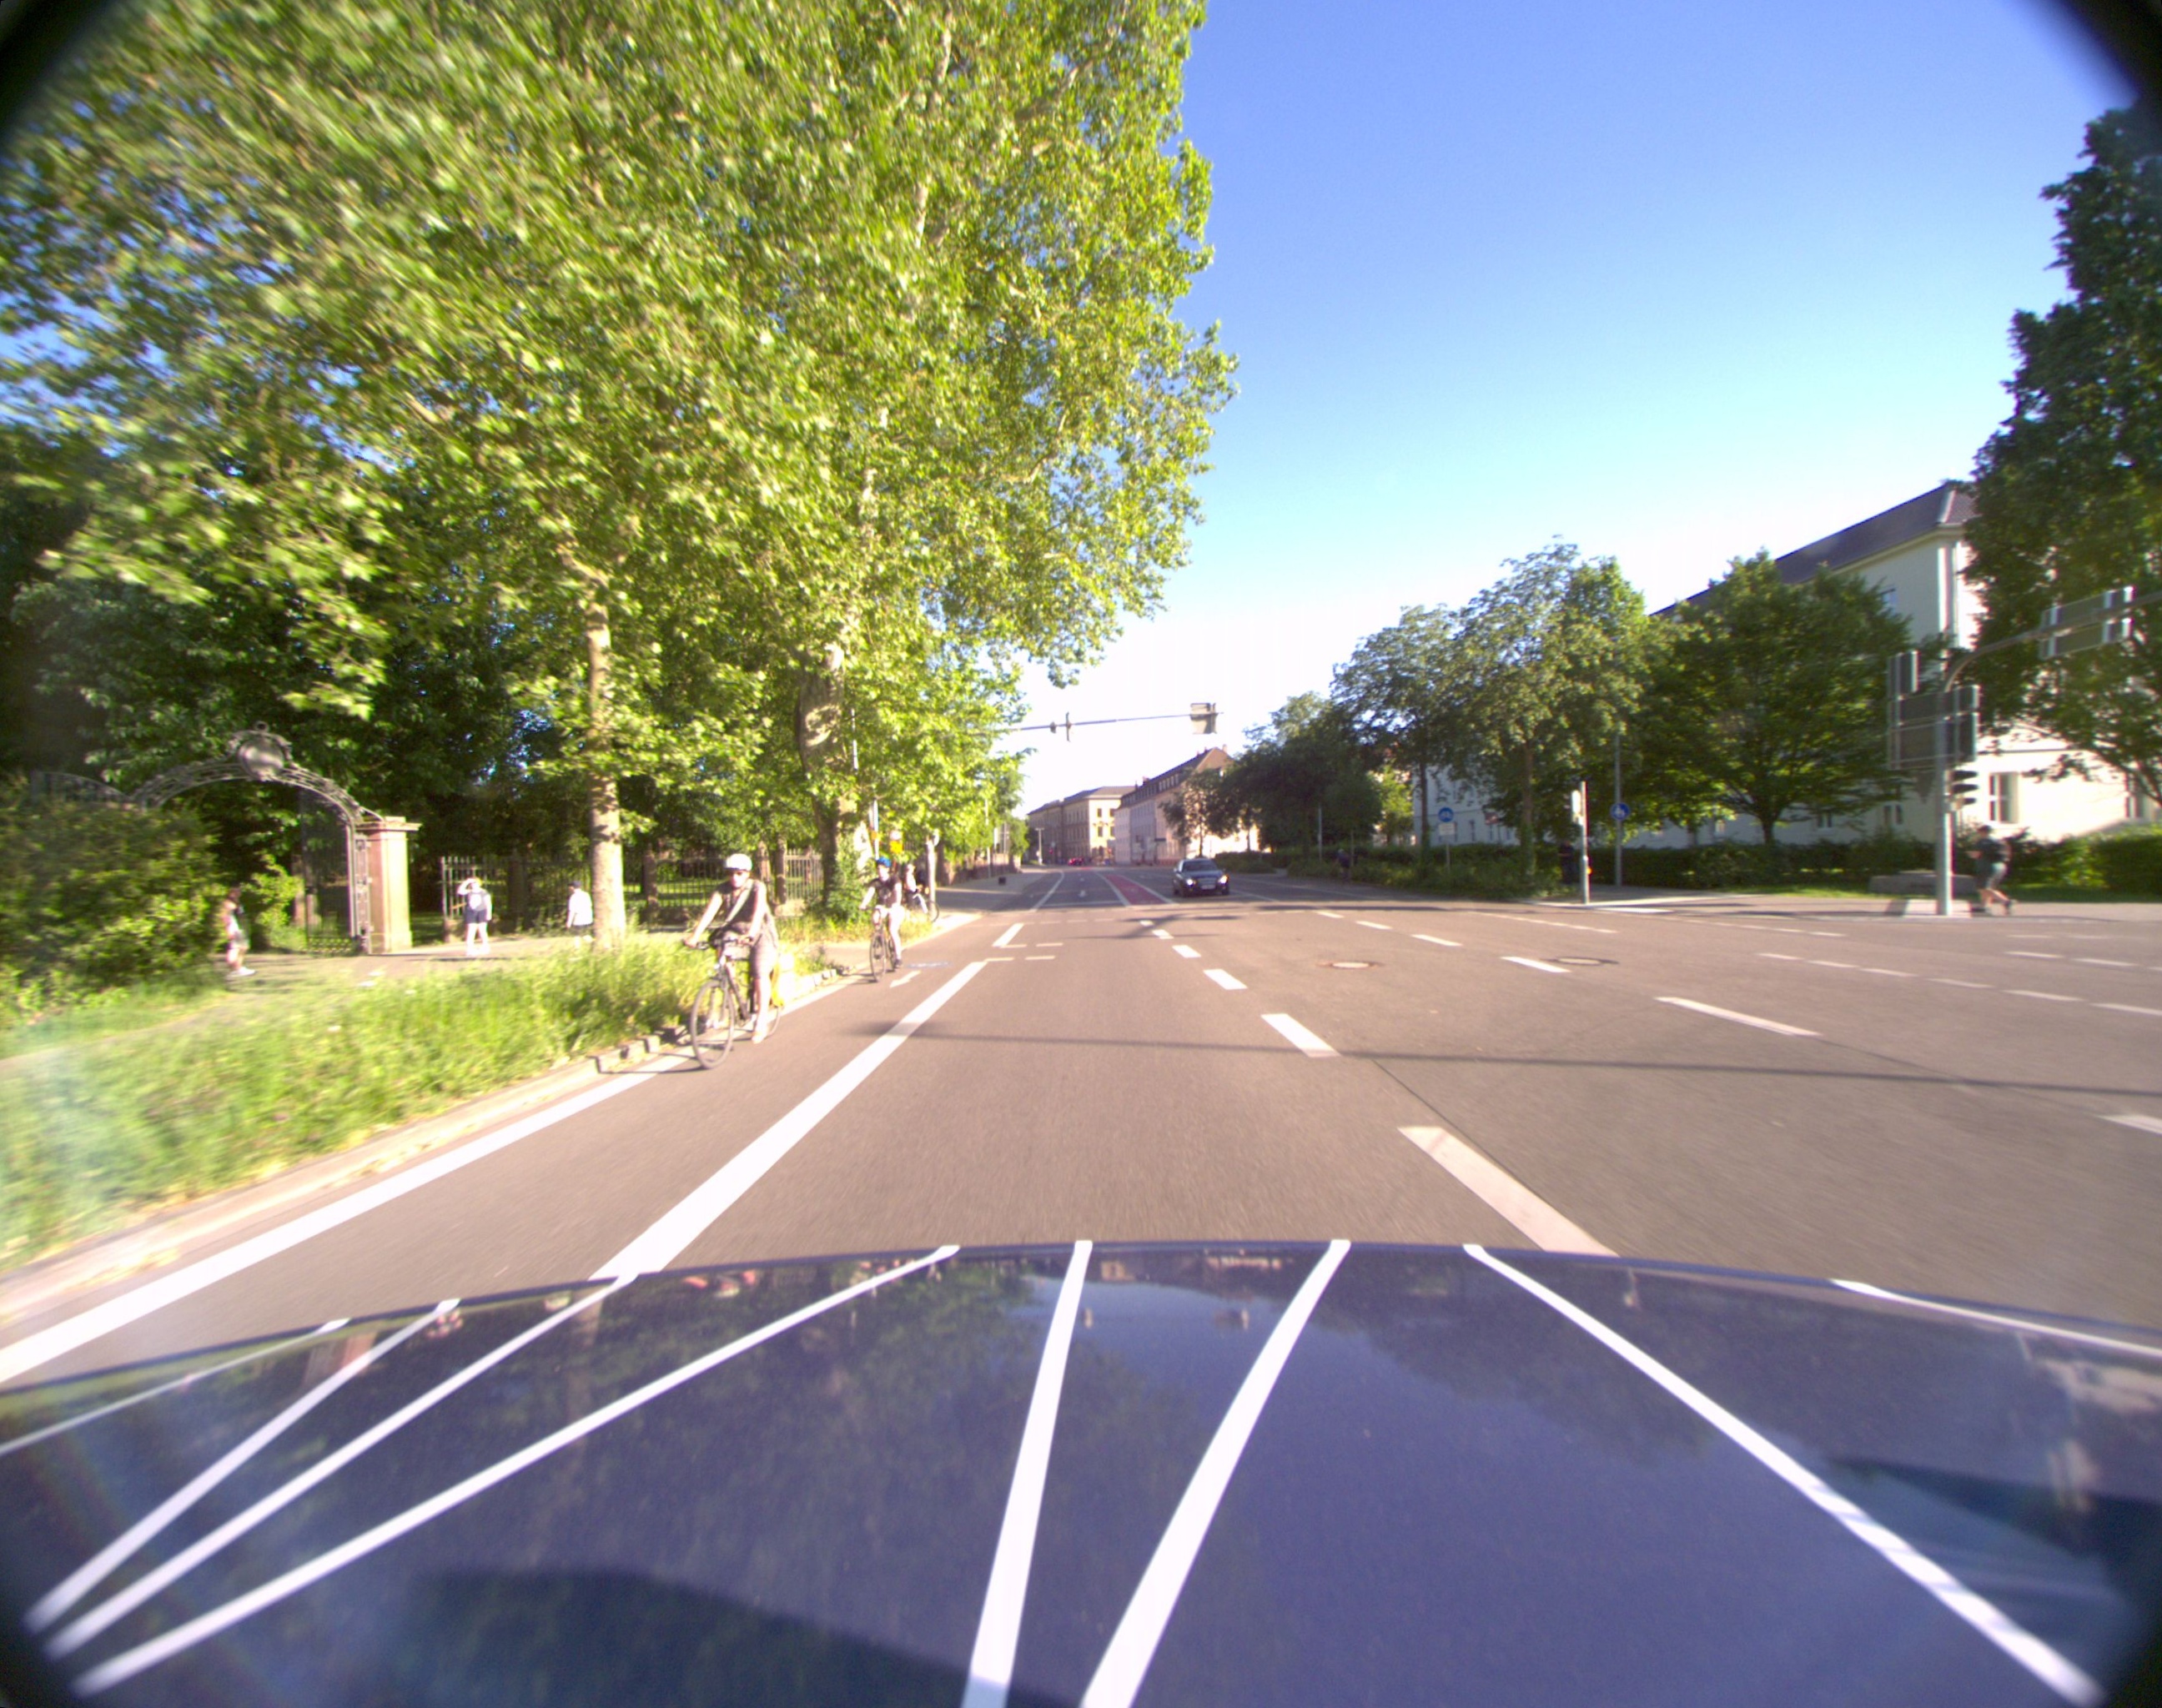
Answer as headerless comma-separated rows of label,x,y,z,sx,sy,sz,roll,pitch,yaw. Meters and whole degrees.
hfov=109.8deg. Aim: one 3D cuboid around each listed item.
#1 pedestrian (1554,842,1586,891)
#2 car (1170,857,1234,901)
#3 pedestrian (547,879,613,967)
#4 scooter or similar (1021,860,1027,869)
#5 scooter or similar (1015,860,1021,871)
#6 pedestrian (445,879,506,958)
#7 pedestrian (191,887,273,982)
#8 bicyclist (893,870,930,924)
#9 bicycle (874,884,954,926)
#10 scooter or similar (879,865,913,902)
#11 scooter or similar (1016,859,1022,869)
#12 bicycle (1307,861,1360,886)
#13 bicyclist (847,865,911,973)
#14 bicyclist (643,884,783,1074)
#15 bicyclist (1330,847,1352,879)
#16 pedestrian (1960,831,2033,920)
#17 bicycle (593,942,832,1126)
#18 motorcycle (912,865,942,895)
pedestrian,17.066,0.445,26.531,0.691,1.672,0.681,-1,1,9
car,4.545,0.913,29.250,1.722,1.409,4.527,-4,0,1
pedestrian,-9.208,1.255,13.985,0.691,1.537,0.681,-1,1,9
scooter or similar,-6.281,1.157,84.034,0.416,1.035,1.779,-4,1,1
scooter or similar,-6.744,1.238,81.537,0.416,1.035,1.779,-4,1,1
pedestrian,-12.931,1.374,16.241,0.691,1.624,0.681,-1,1,9
pedestrian,-16.076,1.512,14.399,0.691,1.701,0.681,-4,0,9
bicyclist,-4.667,1.174,20.960,0.766,1.439,0.696,-1,1,8
bicycle,-4.601,1.402,20.962,1.988,1.089,0.696,-1,1,7
scooter or similar,-6.919,1.086,28.512,0.794,1.248,1.836,2,0,1
scooter or similar,-6.826,1.132,84.052,0.416,1.035,1.779,-4,1,1
bicycle,11.710,0.887,35.247,2.183,1.110,0.700,-1,1,38
bicyclist,-2.940,0.922,11.145,0.695,1.493,0.892,-1,1,-2
bicyclist,-3.127,1.022,6.524,0.694,1.482,0.801,-1,1,12
bicyclist,11.989,0.426,35.011,0.756,1.457,0.700,-1,1,38
pedestrian,19.054,0.438,15.825,0.691,1.805,0.681,-1,1,9
bicycle,-3.092,1.453,6.693,0.694,1.089,2.138,-1,0,12
motorcycle,-7.108,1.200,35.137,0.906,1.285,2.038,-1,0,1
